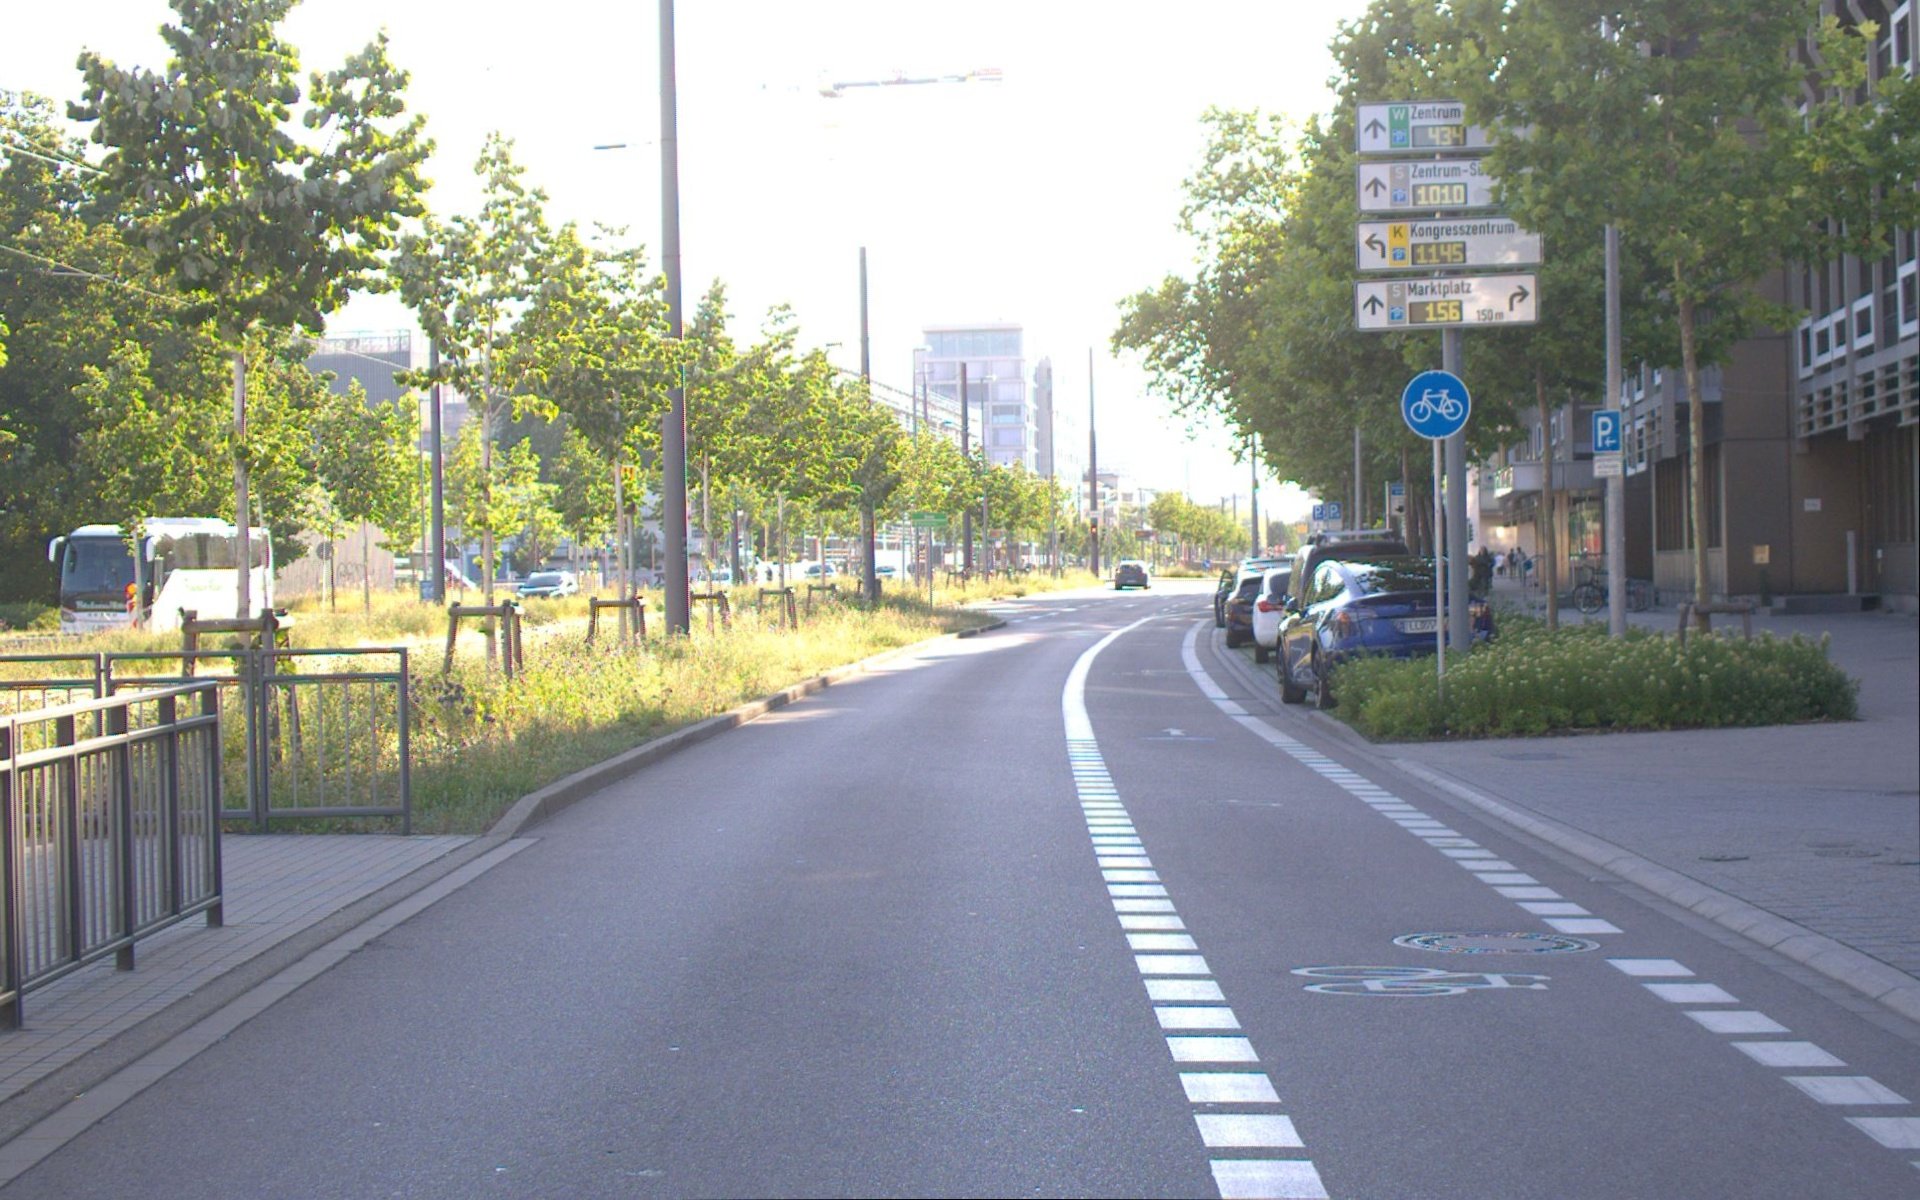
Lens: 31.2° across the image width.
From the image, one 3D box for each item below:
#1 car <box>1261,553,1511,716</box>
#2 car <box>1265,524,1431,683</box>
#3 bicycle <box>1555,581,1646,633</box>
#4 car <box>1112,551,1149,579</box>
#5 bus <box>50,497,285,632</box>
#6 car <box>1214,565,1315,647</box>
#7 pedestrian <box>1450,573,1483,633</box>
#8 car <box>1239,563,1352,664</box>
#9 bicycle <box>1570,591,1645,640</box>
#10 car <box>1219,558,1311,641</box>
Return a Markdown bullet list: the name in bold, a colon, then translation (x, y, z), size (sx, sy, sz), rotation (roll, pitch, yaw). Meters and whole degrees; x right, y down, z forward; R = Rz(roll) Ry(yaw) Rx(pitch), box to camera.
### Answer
- **car**: translation (4.554, 0.346, 37.453), size (1.931, 1.593, 4.699), rotation (-2, 0, -2)
- **car**: translation (5.031, 0.037, 45.015), size (1.734, 1.913, 4.393), rotation (-2, 0, 2)
- **bicycle**: translation (14.071, 0.157, 75.585), size (1.899, 1.089, 0.392), rotation (-1, 0, -1)
- **car**: translation (8.890, -1.834, 179.274), size (1.777, 1.423, 3.999), rotation (1, 0, 5)
- **bus**: translation (-22.330, -0.950, 97.738), size (2.799, 3.582, 12.696), rotation (0, 0, 5)
- **car**: translation (5.764, 0.100, 65.450), size (1.795, 1.444, 4.376), rotation (-2, 0, 4)
- **pedestrian**: translation (13.942, 0.085, 94.672), size (0.789, 1.643, 1.136), rotation (-1, 0, 5)
- **car**: translation (5.310, 0.199, 54.680), size (1.664, 1.485, 4.203), rotation (-2, 0, 5)
- **bicycle**: translation (14.661, 0.343, 77.886), size (1.627, 1.078, 0.392), rotation (-1, 0, 7)
- **car**: translation (6.303, -0.022, 71.384), size (1.728, 1.616, 4.215), rotation (-2, 0, 3)
